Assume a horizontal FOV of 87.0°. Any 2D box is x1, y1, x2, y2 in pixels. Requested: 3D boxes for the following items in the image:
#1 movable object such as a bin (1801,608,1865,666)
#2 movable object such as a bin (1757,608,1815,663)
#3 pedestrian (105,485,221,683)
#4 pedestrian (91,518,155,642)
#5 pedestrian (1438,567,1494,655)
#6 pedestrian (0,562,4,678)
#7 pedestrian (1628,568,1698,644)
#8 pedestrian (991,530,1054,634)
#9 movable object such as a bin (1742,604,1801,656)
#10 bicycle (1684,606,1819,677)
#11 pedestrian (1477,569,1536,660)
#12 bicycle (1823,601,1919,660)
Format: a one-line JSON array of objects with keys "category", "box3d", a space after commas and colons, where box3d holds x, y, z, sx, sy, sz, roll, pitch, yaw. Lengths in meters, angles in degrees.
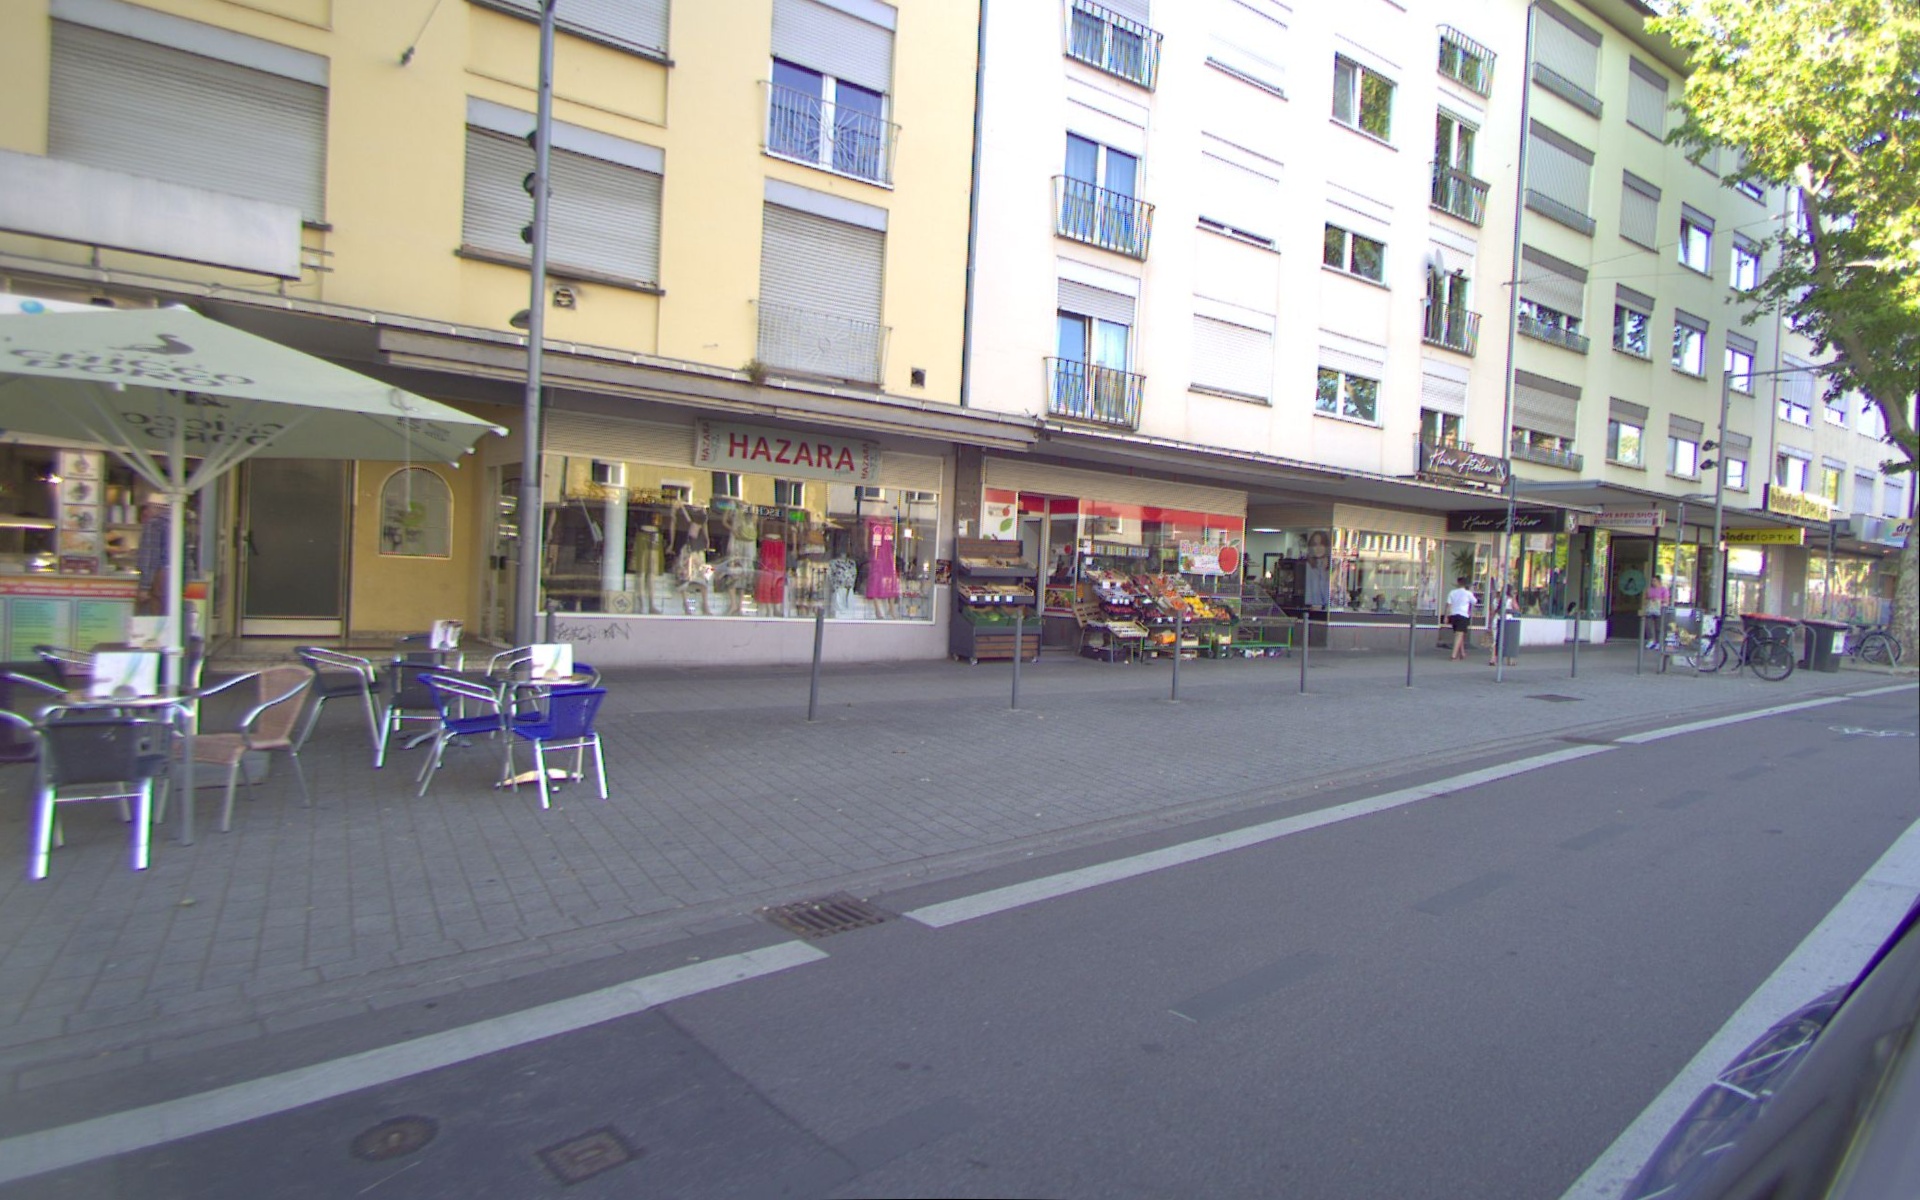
[{"category": "movable object such as a bin", "box3d": [18.289, 0.769, 21.216, 0.631, 1.115, 0.726, 1, 5, -26]}, {"category": "movable object such as a bin", "box3d": [17.837, 0.752, 21.860, 0.632, 1.084, 0.725, 0, 6, -35]}, {"category": "pedestrian", "box3d": [-7.646, -0.158, 9.728, 0.614, 1.826, 0.638, 2, 1, -4]}, {"category": "pedestrian", "box3d": [-9.137, -0.217, 11.057, 0.498, 1.312, 0.427, 1, 2, -36]}, {"category": "pedestrian", "box3d": [9.598, 0.197, 19.207, 0.614, 1.605, 0.625, 1, 4, -34]}, {"category": "pedestrian", "box3d": [-9.108, -0.043, 8.982, 0.624, 1.564, 0.628, 2, 5, -9]}, {"category": "pedestrian", "box3d": [17.277, 0.134, 24.891, 1.111, 1.784, 0.972, 0, 3, -32]}, {"category": "pedestrian", "box3d": [1.099, -0.309, 17.801, 0.864, 1.766, 0.686, 1, 0, -37]}, {"category": "movable object such as a bin", "box3d": [18.120, 0.658, 22.601, 0.630, 1.085, 0.726, 2, 3, -15]}, {"category": "bicycle", "box3d": [14.944, 0.753, 19.177, 0.507, 1.118, 1.918, 1, 4, -26]}, {"category": "pedestrian", "box3d": [10.061, 0.261, 18.642, 0.614, 1.605, 0.638, 1, 4, -34]}, {"category": "bicycle", "box3d": [20.270, 0.645, 22.327, 0.731, 1.130, 1.725, -3, 4, -32]}]
